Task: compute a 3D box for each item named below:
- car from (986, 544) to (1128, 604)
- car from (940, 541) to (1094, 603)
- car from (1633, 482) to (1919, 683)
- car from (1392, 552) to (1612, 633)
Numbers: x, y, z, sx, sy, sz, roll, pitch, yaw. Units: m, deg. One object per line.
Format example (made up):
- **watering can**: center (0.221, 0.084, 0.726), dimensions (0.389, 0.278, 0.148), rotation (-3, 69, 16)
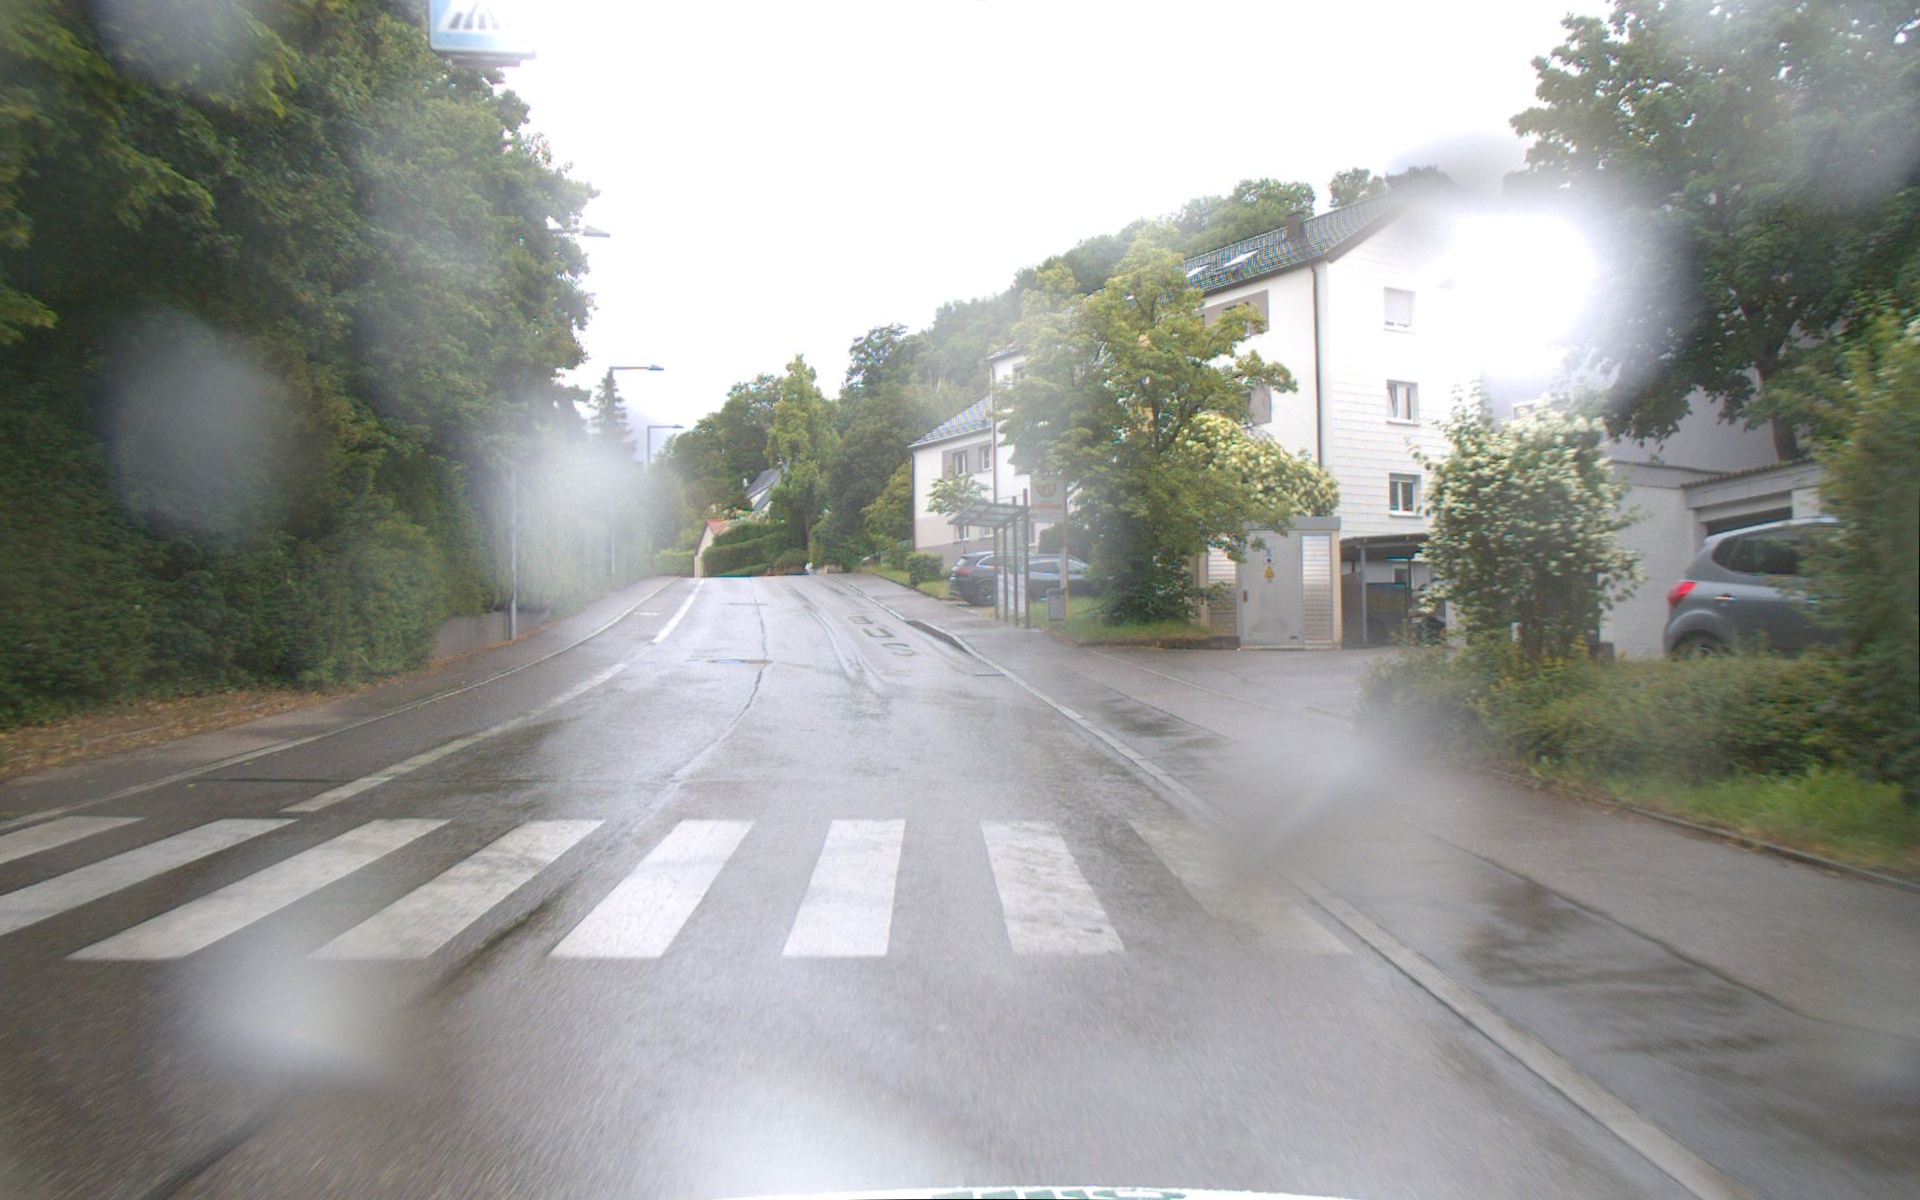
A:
- **car**: center (2.696, -0.747, 46.322), dimensions (3.674, 1.483, 1.721), rotation (-2, 3, -9)
- **car**: center (1.756, -0.895, 51.397), dimensions (4.450, 1.689, 1.850), rotation (-2, 3, -14)
- **car**: center (8.022, -0.152, 14.434), dimensions (1.697, 1.590, 3.765), rotation (-4, -1, -24)
- **car**: center (10.481, -0.126, 32.119), dimensions (3.630, 1.456, 1.793), rotation (-1, -1, -7)
